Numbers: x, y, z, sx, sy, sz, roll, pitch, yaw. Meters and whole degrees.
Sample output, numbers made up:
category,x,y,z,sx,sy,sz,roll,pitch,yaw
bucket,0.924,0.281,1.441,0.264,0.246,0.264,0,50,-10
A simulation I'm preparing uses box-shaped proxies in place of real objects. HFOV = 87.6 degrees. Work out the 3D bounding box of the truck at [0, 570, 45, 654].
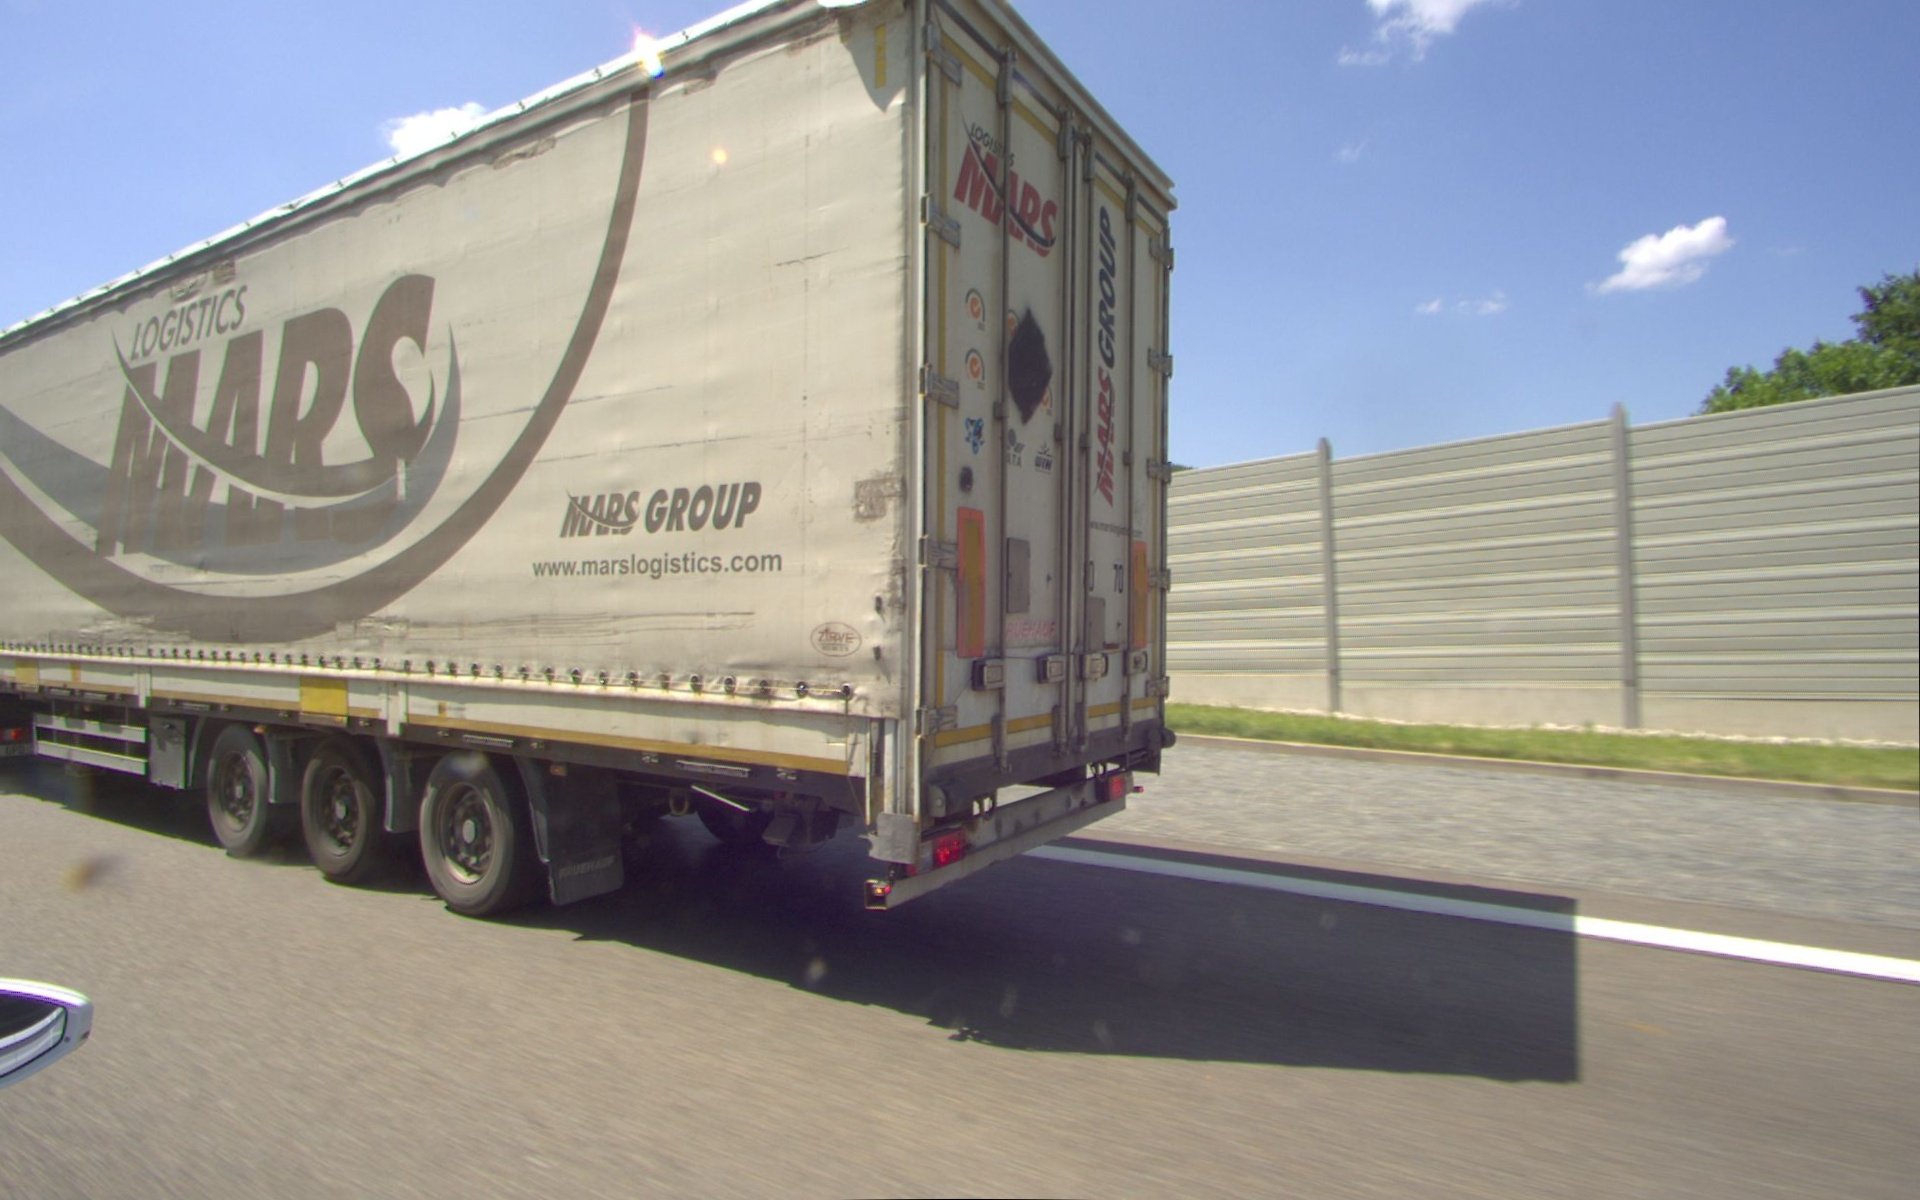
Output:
category,x,y,z,sx,sy,sz,roll,pitch,yaw
truck,-47.696,0.606,48.706,5.311,3.950,3.406,-1,-2,32

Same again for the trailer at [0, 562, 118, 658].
category,x,y,z,sx,sy,sz,roll,pitch,yaw
trailer,-42.406,0.548,45.364,10.992,3.950,3.406,-1,-2,33

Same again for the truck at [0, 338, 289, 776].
category,x,y,z,sx,sy,sz,roll,pitch,yaw
truck,-10.864,-0.283,11.853,5.672,4.118,2.715,-2,-3,32

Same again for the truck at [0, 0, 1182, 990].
category,x,y,z,sx,sy,sz,roll,pitch,yaw
truck,-5.159,-0.471,8.273,13.545,4.118,2.722,-2,-3,32
